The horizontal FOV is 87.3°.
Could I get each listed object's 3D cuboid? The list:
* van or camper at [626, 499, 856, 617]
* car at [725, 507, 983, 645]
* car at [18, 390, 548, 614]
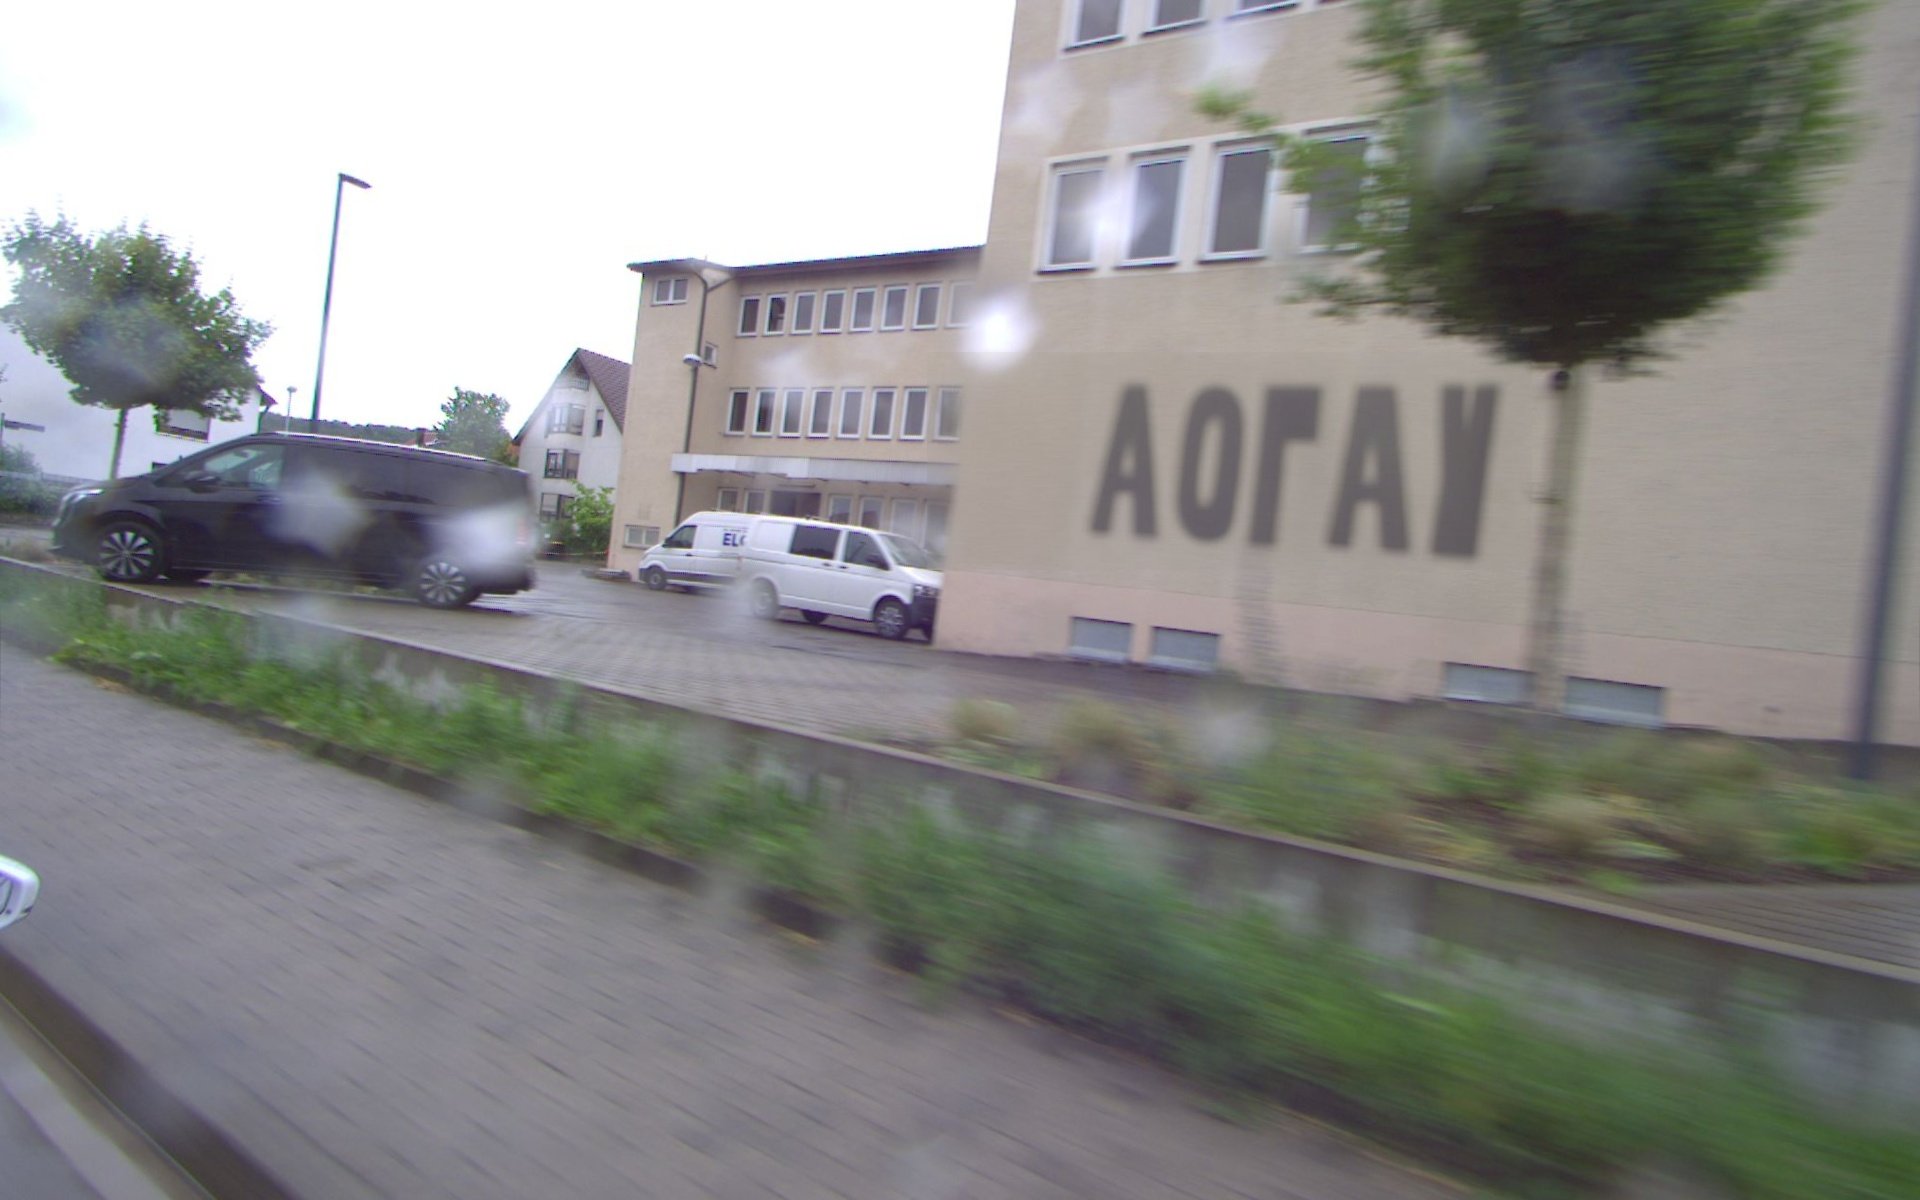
[{"bbox_3d":[-6.593,-1.272,30.157,6.482,2.567,2.001,8,0,22],"label":"van or camper"},{"bbox_3d":[-2.081,-0.481,19.259,4.521,2.039,1.796,8,1,29],"label":"car"},{"bbox_3d":[-8.000,-1.068,12.606,5.043,1.944,2.043,6,1,-21],"label":"car"}]
